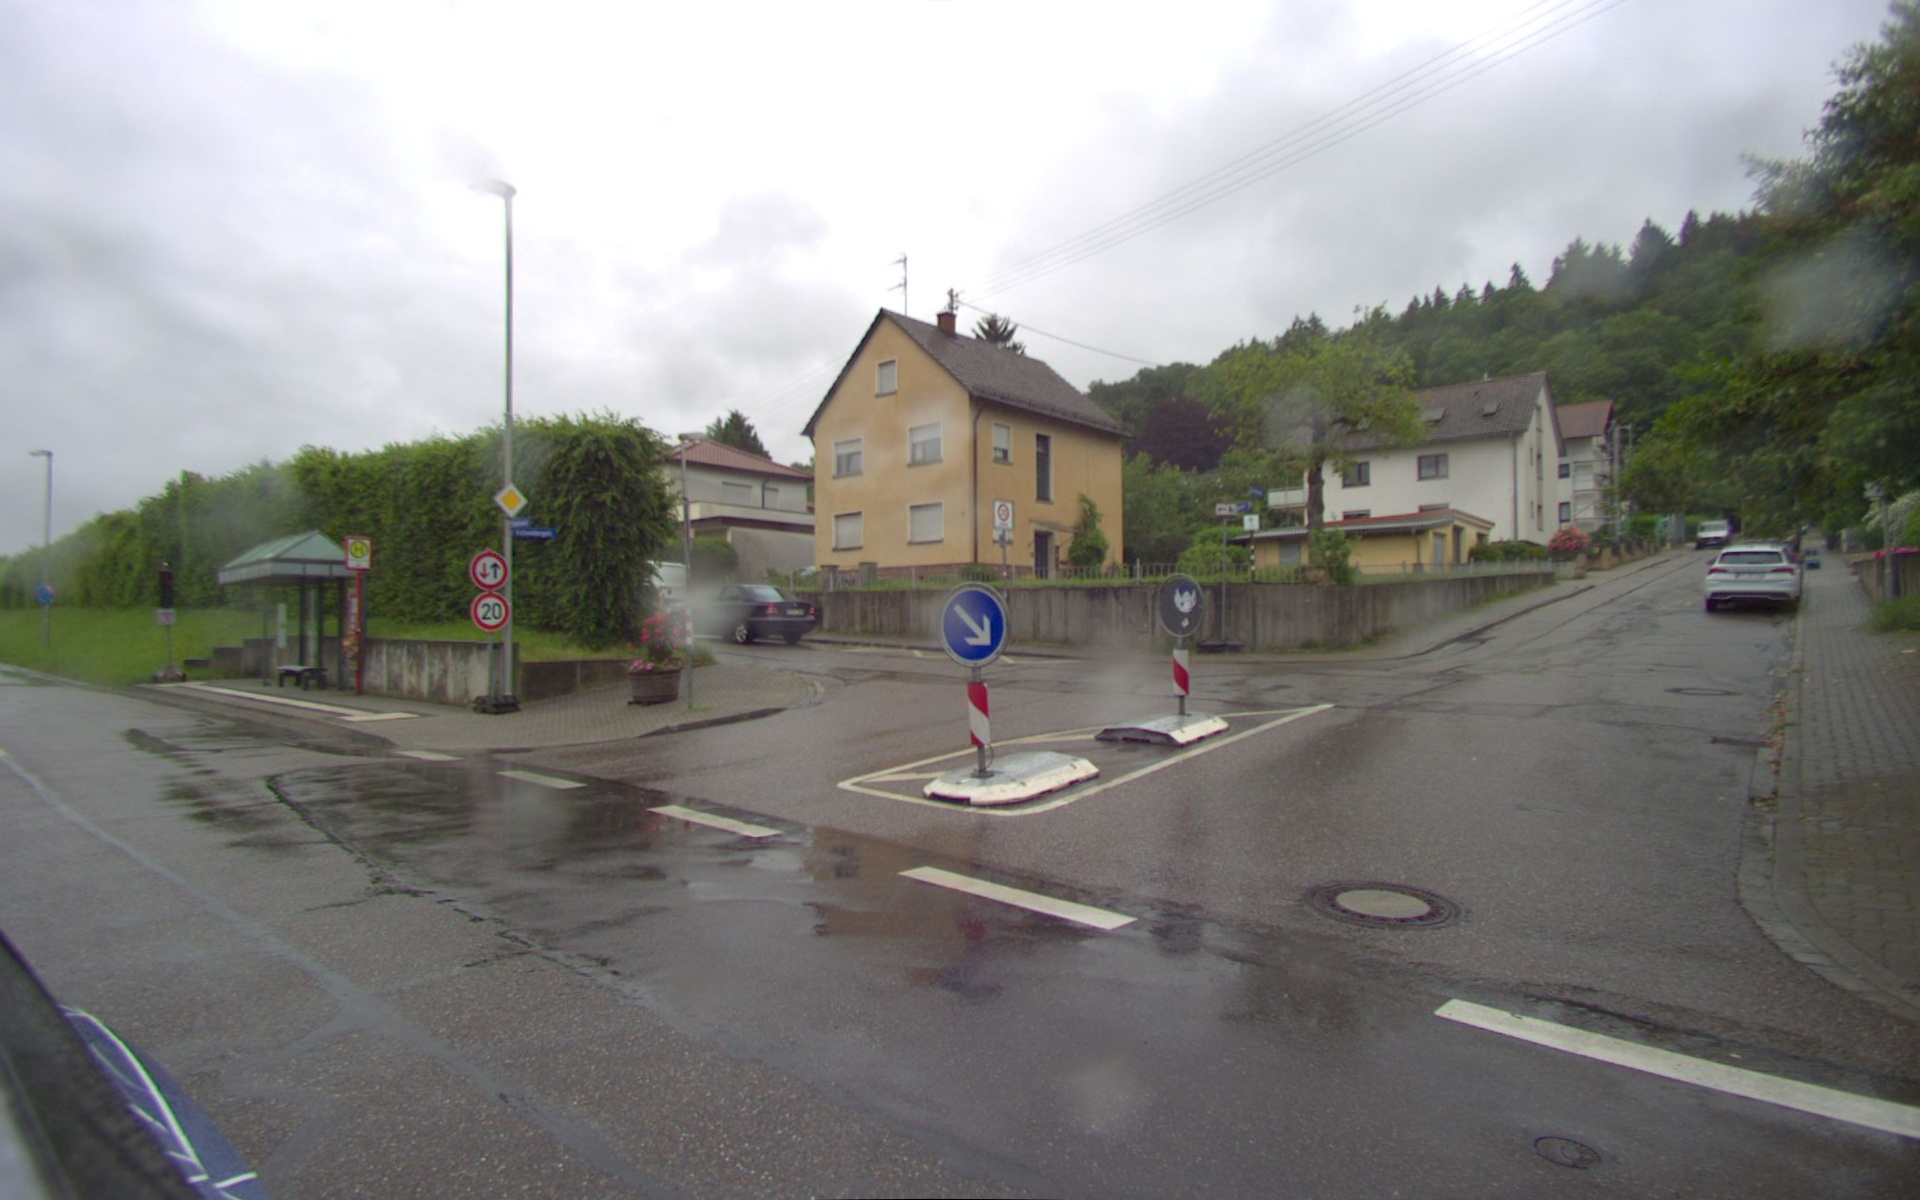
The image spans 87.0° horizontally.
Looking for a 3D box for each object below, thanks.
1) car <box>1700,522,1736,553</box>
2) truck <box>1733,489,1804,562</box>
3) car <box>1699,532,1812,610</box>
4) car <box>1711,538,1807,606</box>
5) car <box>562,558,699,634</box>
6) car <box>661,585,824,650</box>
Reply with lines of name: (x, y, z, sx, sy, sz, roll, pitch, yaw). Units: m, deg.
car: (52.399, -4.305, 69.929, 1.914, 2.028, 3.950, -1, 2, 38)
truck: (41.598, -3.745, 52.009, 2.452, 3.377, 6.567, -1, 1, 42)
car: (19.273, -0.729, 24.455, 1.900, 1.525, 3.840, -1, 6, 42)
car: (22.504, -0.806, 28.458, 1.900, 1.525, 3.840, -1, 6, 42)
car: (-9.481, -0.160, 28.942, 4.318, 2.020, 1.765, 2, 1, 41)
car: (-5.403, 0.366, 24.868, 4.221, 1.399, 1.726, 2, 1, 41)
